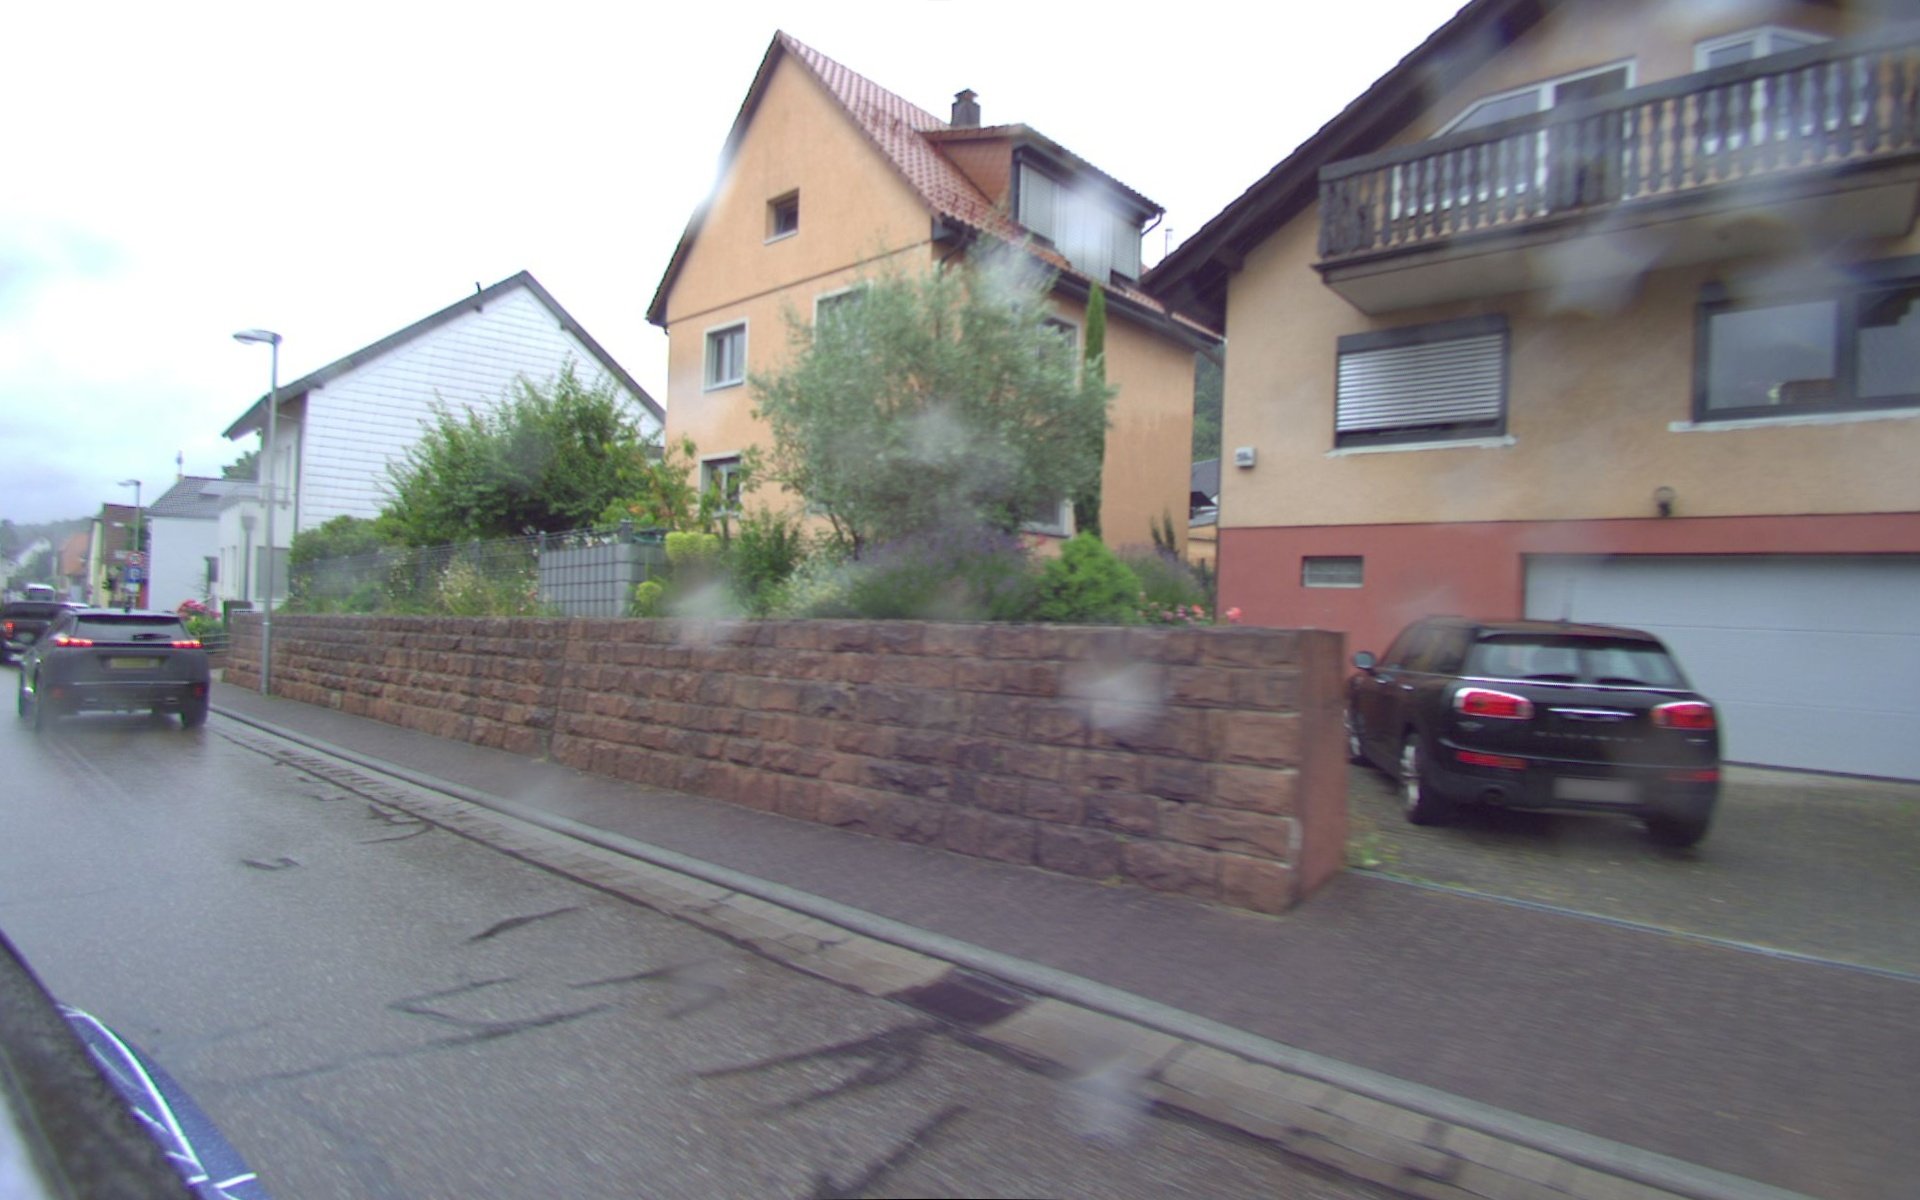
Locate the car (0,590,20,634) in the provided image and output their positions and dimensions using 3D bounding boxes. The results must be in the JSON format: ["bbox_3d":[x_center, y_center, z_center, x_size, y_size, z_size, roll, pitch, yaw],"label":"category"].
[{"bbox_3d":[-34.628,0.415,35.996,1.561,1.492,3.718,5,-4,-45],"label":"car"}]

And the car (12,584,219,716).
[{"bbox_3d":[-11.670,0.645,13.898,3.851,1.558,1.681,0,-4,44],"label":"car"}]

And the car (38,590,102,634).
[{"bbox_3d":[-37.319,0.493,42.522,1.788,1.696,4.191,3,-1,-39],"label":"car"}]

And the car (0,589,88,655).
[{"bbox_3d":[-26.127,0.581,28.634,1.813,1.686,5.201,3,-2,-45],"label":"car"}]

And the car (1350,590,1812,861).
[{"bbox_3d":[4.297,0.687,7.810,1.796,1.462,3.984,2,1,13],"label":"car"}]
